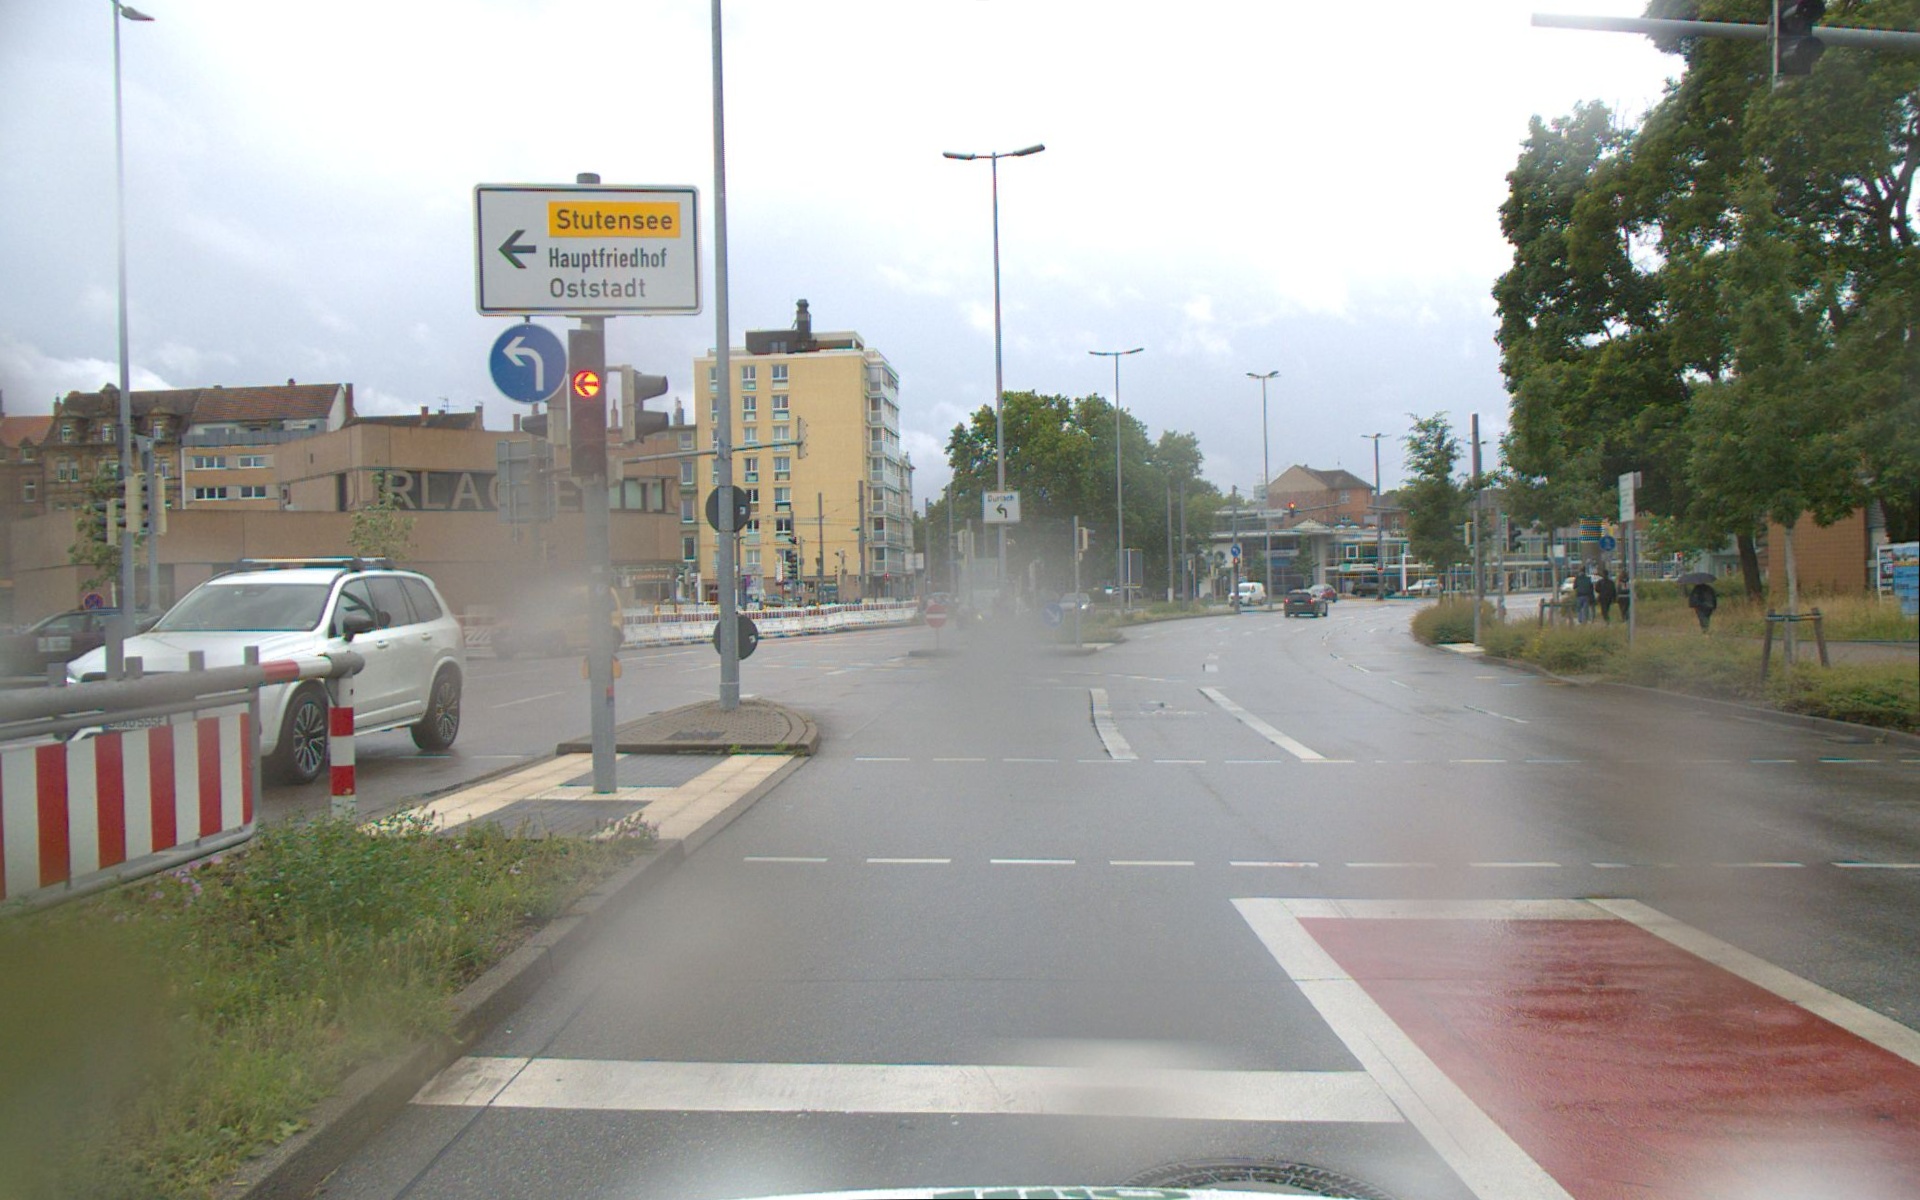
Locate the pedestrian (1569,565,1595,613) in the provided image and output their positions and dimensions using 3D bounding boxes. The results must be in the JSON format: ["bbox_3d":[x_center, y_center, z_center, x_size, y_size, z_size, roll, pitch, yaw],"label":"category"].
[{"bbox_3d":[21.331,-0.392,56.714,0.688,1.615,0.937,-1,0,12],"label":"pedestrian"}]

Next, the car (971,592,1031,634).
[{"bbox_3d":[1.659,0.482,65.505,1.657,1.440,4.188,-2,2,11],"label":"car"}]

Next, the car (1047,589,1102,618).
[{"bbox_3d":[5.743,0.141,82.746,1.735,1.400,4.122,0,0,19],"label":"car"}]

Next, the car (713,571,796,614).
[{"bbox_3d":[-17.558,-0.655,141.749,6.601,3.439,2.810,-2,0,2],"label":"car"}]

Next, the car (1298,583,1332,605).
[{"bbox_3d":[29.005,-0.521,134.960,1.755,1.672,4.042,-1,0,27],"label":"car"}]

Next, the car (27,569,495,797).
[{"bbox_3d":[-6.006,0.600,15.055,1.788,1.711,5.168,0,1,3],"label":"car"}]

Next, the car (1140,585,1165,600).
[{"bbox_3d":[22.352,-0.892,191.573,1.753,1.672,4.158,-1,0,23],"label":"car"}]

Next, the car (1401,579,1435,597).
[{"bbox_3d":[44.650,-1.164,161.182,1.760,1.672,4.143,-1,0,36],"label":"car"}]

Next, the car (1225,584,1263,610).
[{"bbox_3d":[22.277,-0.243,129.540,1.755,1.890,4.154,-1,0,28],"label":"car"}]

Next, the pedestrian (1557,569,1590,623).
[{"bbox_3d":[18.561,-0.131,50.037,0.737,1.615,0.937,-1,0,9],"label":"pedestrian"}]

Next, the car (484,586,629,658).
[{"bbox_3d":[-10.447,0.535,43.140,1.670,1.735,4.154,-1,0,19],"label":"car"}]

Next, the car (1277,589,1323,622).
[{"bbox_3d":[18.010,0.275,87.529,1.753,1.672,4.160,-1,0,21],"label":"car"}]

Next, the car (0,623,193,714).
[{"bbox_3d":[-18.717,1.419,34.992,4.399,1.735,1.694,-2,0,-30],"label":"car"}]

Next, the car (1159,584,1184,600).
[{"bbox_3d":[24.386,-0.939,190.771,1.753,1.672,4.158,-1,0,23],"label":"car"}]

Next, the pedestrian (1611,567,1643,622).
[{"bbox_3d":[20.028,-0.172,49.692,0.688,1.615,0.937,-1,0,9],"label":"pedestrian"}]

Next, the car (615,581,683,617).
[{"bbox_3d":[-26.738,-0.110,142.272,5.239,2.937,2.340,-2,0,2],"label":"car"}]

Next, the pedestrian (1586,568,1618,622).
[{"bbox_3d":[19.297,-0.151,49.706,0.688,1.615,0.937,-1,0,9],"label":"pedestrian"}]

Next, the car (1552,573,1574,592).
[{"bbox_3d":[54.422,-1.623,149.289,1.753,1.672,4.160,-1,0,21],"label":"car"}]

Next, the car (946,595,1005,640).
[{"bbox_3d":[0.719,0.753,73.421,1.658,1.720,4.188,-2,2,14],"label":"car"}]

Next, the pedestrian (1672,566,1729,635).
[{"bbox_3d":[17.699,0.001,39.566,1.000,1.615,0.937,-1,0,9],"label":"pedestrian"}]

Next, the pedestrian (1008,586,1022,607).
[{"bbox_3d":[4.804,-0.315,144.075,1.071,1.845,1.117,-2,0,-5],"label":"pedestrian"}]
